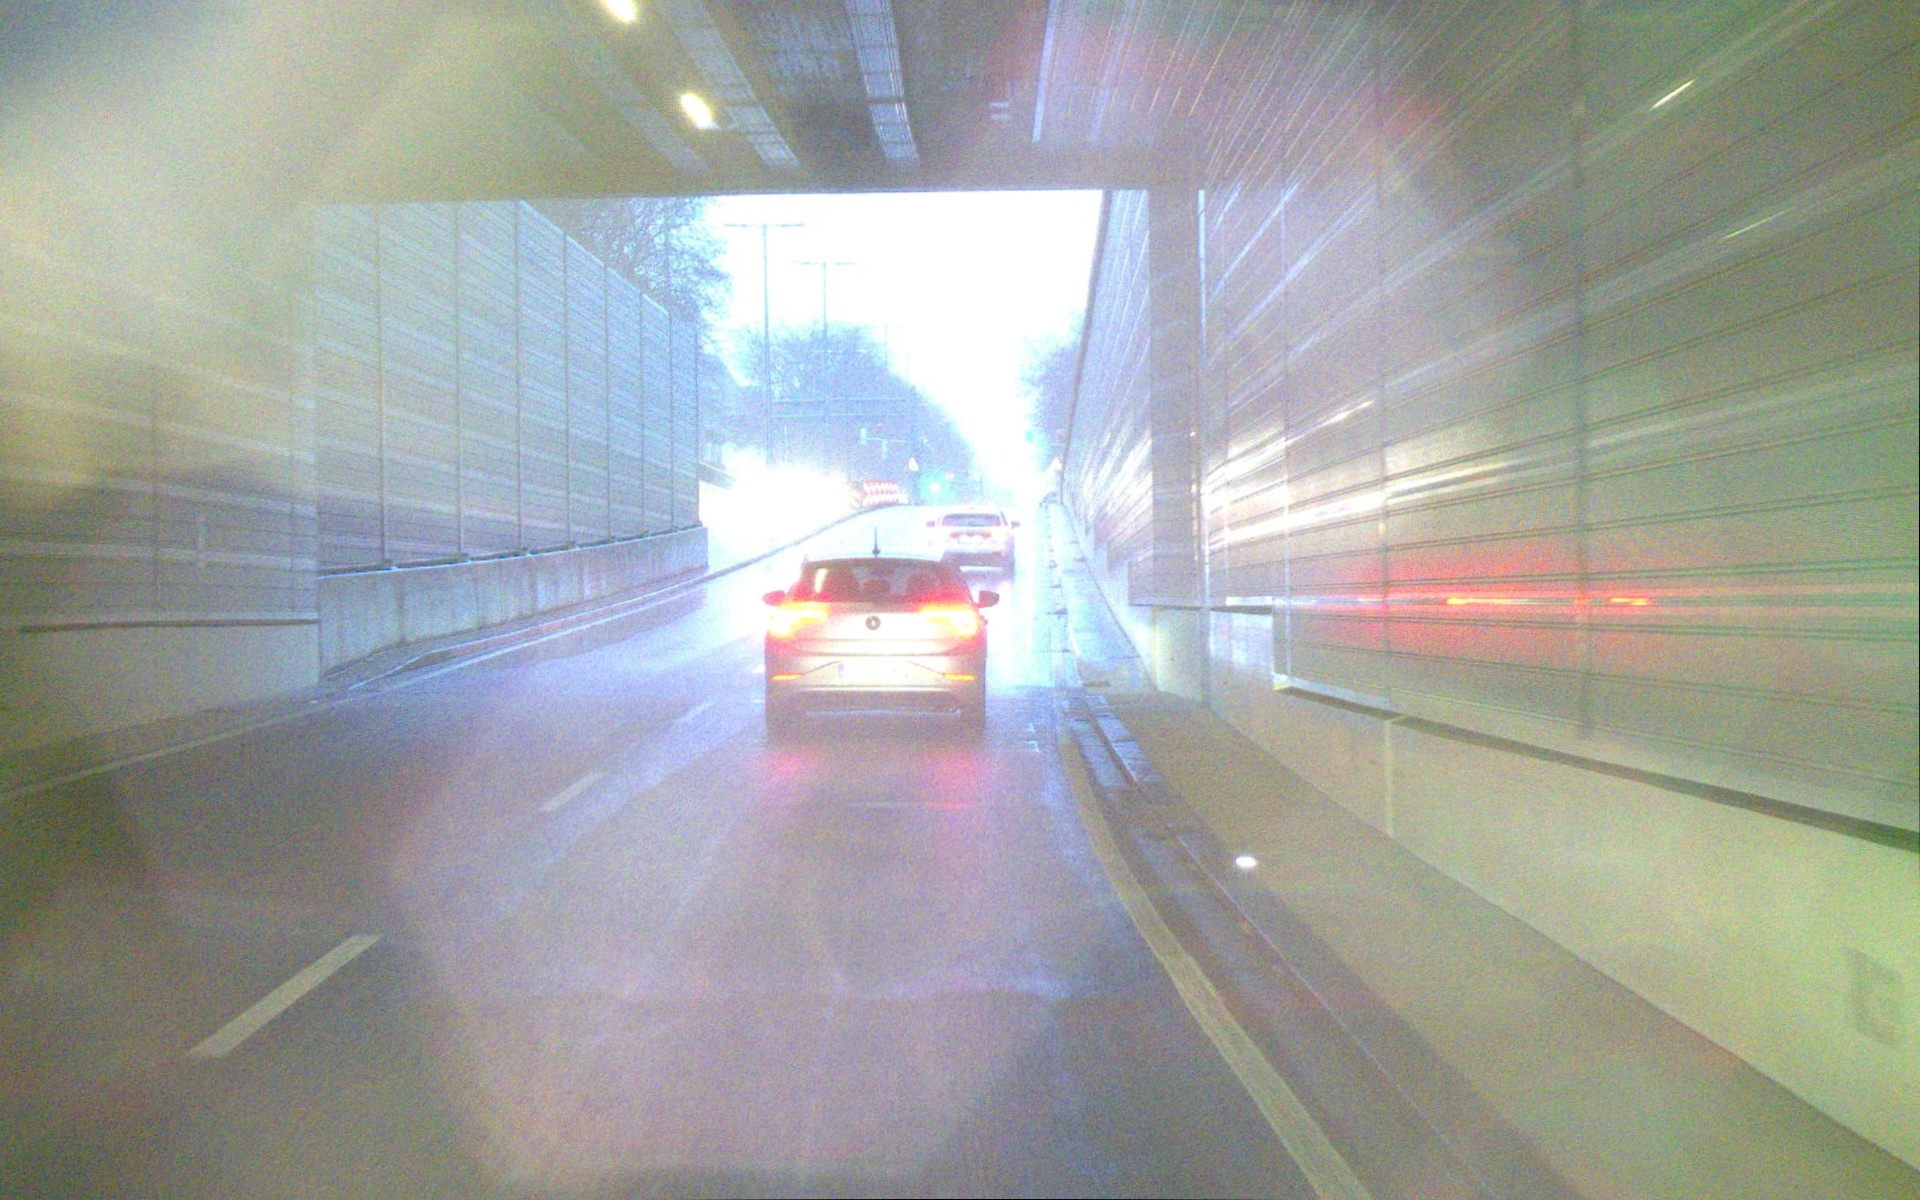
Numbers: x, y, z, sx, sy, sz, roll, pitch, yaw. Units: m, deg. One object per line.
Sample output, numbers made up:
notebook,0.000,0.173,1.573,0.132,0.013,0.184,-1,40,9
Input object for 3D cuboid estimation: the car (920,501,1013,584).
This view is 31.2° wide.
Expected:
car,0.112,-1.226,74.592,1.880,1.615,4.000,2,-1,-1

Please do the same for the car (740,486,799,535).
car,-7.252,-3.404,131.203,1.880,1.615,4.000,2,-1,1

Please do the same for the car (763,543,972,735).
car,-0.753,0.283,27.800,1.532,1.392,3.434,2,0,-2
